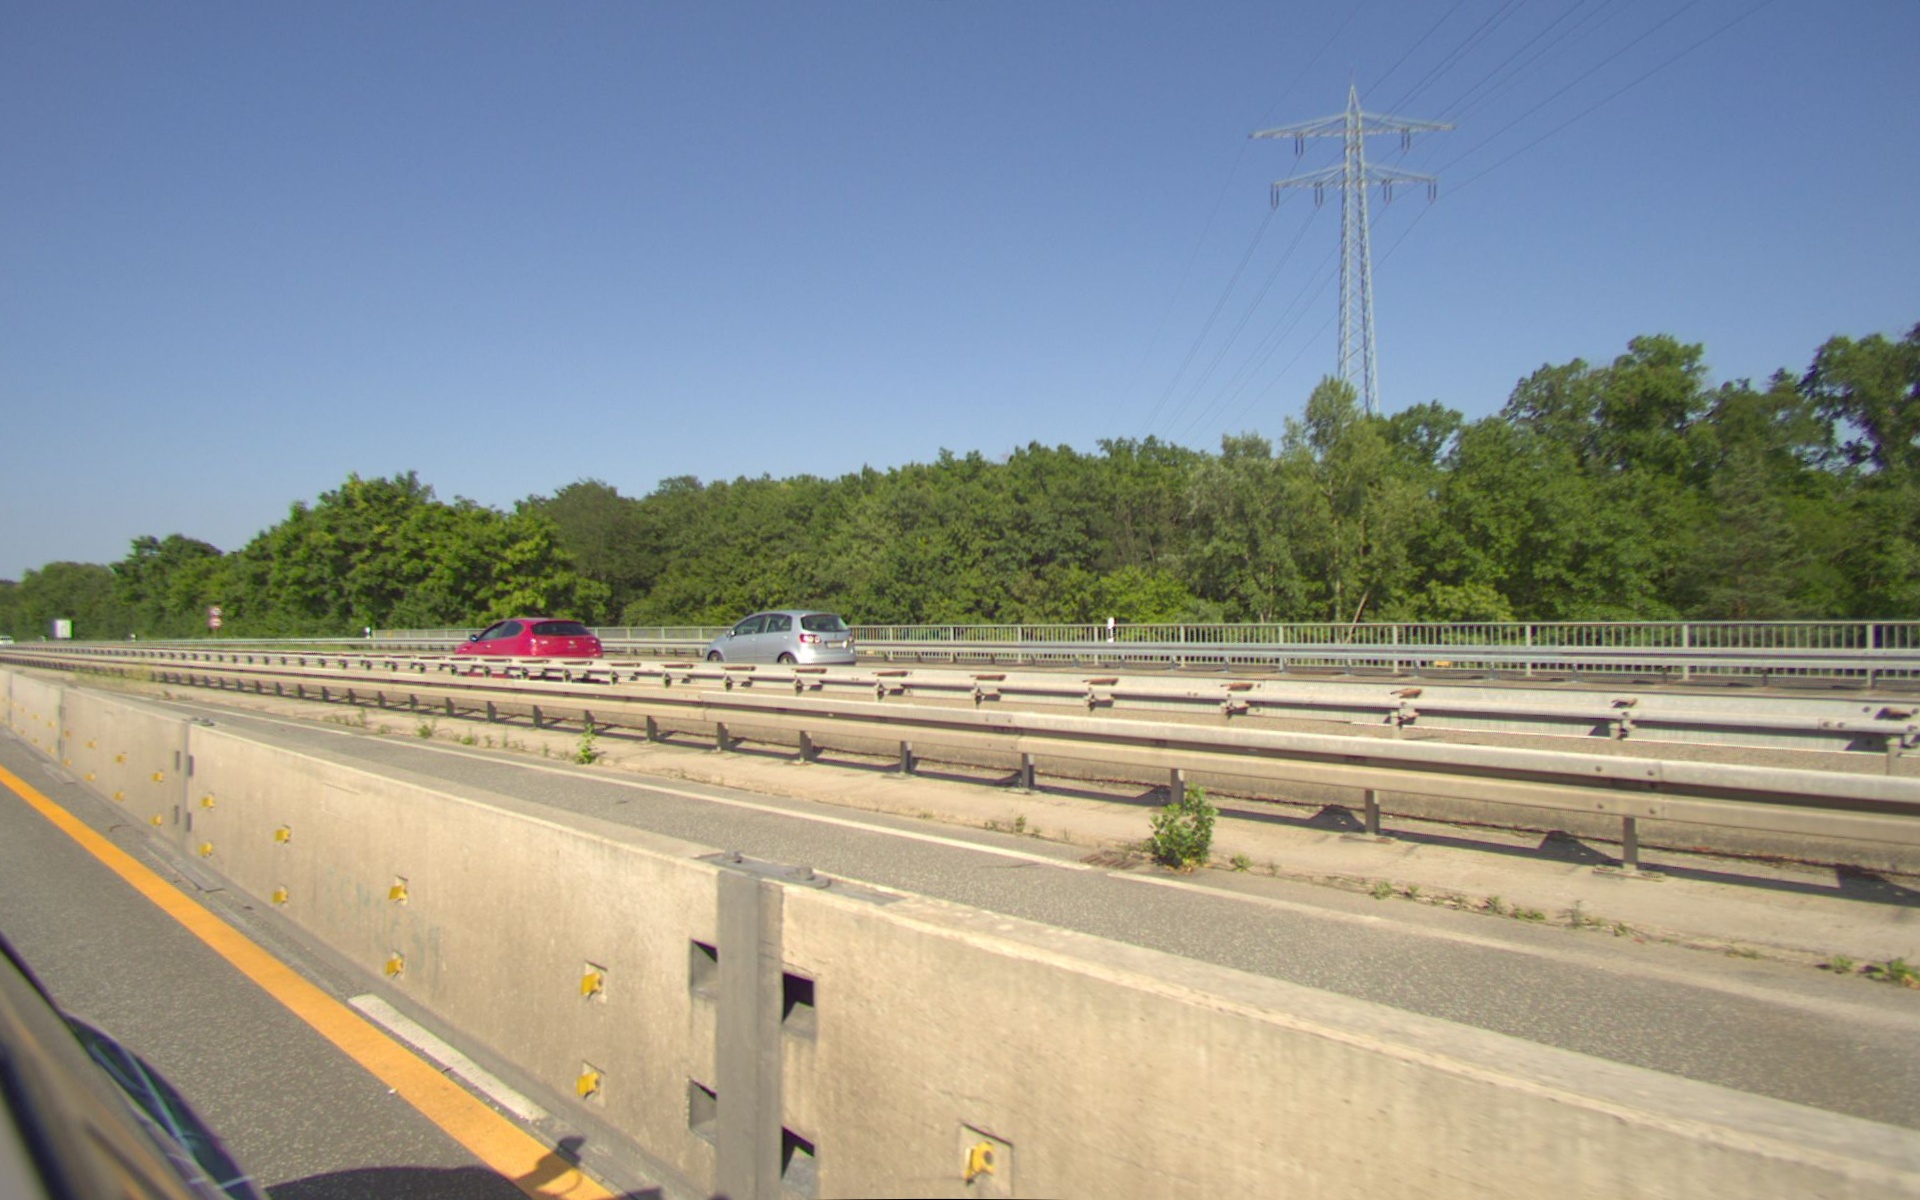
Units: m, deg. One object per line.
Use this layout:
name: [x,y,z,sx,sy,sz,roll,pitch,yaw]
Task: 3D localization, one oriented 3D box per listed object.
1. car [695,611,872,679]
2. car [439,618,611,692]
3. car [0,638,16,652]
car: [-4.079,0.999,23.032,4.123,1.403,1.759,-2,-3,41]
car: [-9.340,1.124,21.587,4.218,1.407,1.697,-2,-2,40]
car: [-101.272,4.788,106.900,4.549,1.349,1.722,-2,0,41]
